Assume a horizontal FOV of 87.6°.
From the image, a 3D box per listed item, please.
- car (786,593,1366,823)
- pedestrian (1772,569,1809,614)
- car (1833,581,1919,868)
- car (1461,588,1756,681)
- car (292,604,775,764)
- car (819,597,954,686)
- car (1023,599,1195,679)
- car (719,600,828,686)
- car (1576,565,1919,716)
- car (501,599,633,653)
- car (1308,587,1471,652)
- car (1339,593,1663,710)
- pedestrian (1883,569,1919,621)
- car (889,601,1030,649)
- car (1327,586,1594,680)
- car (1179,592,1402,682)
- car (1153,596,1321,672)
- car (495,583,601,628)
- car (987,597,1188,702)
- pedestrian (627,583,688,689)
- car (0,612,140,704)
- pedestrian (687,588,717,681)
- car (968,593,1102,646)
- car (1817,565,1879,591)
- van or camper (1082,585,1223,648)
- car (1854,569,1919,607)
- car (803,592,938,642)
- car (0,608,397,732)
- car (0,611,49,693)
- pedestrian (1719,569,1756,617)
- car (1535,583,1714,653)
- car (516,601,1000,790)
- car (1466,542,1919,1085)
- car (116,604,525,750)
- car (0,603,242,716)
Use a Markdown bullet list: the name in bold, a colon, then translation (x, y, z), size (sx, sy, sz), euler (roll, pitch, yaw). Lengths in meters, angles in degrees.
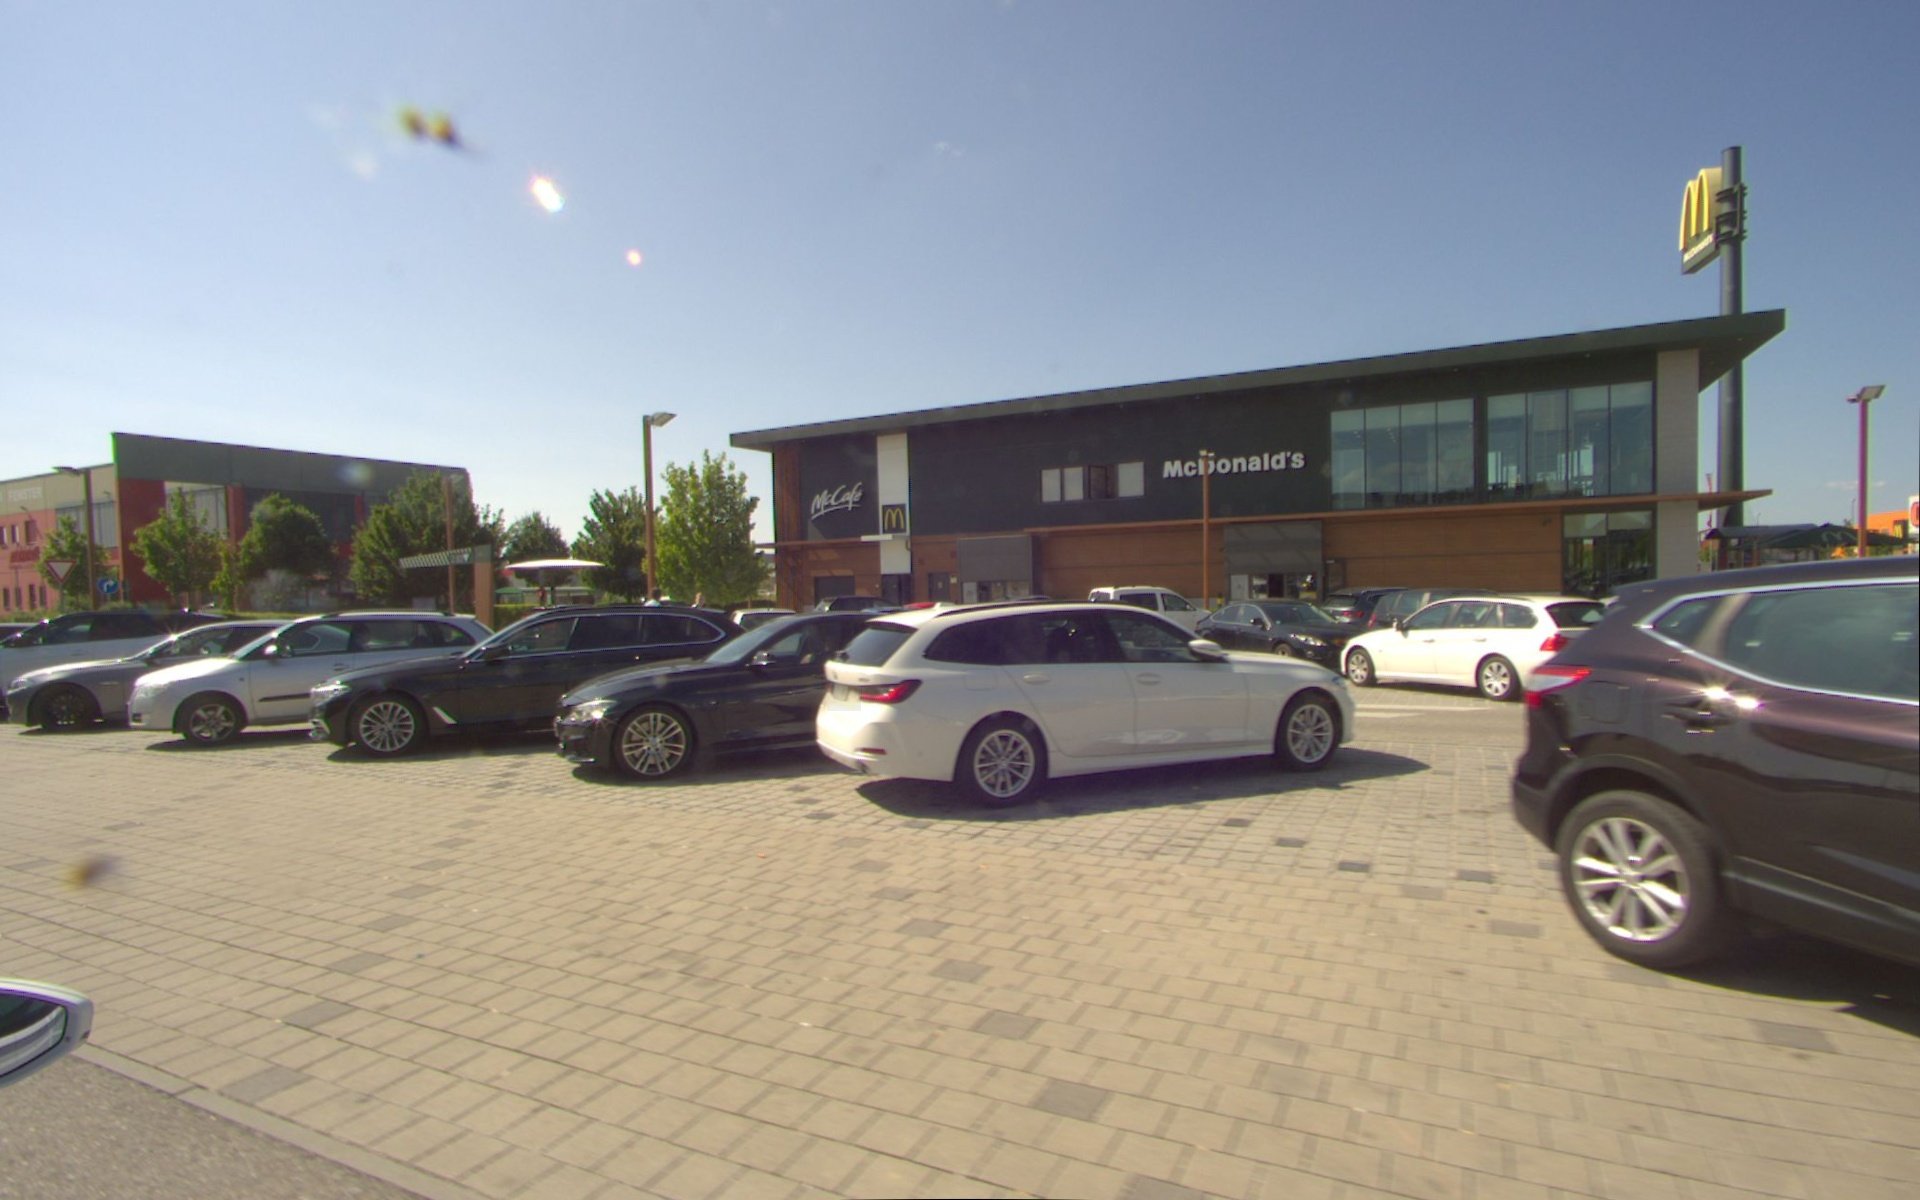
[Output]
- **car**: translation (0.993, 0.714, 8.351), size (4.510, 1.479, 1.830), euler (-1, 0, -24)
- **pedestrian**: translation (29.144, -0.291, 35.142), size (0.708, 1.580, 0.701), euler (-1, 1, -2)
- **car**: translation (7.079, 0.613, 5.340), size (4.136, 1.479, 1.970), euler (-1, 0, -21)
- **car**: translation (12.130, 0.584, 19.159), size (1.862, 1.507, 4.636), euler (-2, 0, -17)
- **car**: translation (-4.676, 0.834, 11.579), size (4.703, 1.506, 1.970), euler (-1, 0, -21)
- **car**: translation (-1.572, 0.748, 19.905), size (1.781, 1.535, 4.107), euler (-2, 0, -17)
- **car**: translation (3.082, 0.760, 21.815), size (1.862, 1.507, 4.636), euler (-2, 0, -17)
- **car**: translation (-3.866, 0.781, 20.266), size (1.681, 1.513, 4.107), euler (-2, 0, -17)
- **car**: translation (10.836, 0.452, 13.558), size (1.781, 1.696, 4.107), euler (-2, 0, -17)
- **car**: translation (-13.786, 0.866, 35.420), size (1.963, 1.714, 4.224), euler (0, 1, 22)
- **car**: translation (11.693, 0.499, 27.276), size (3.966, 1.634, 1.713), euler (-1, 0, -19)
- **car**: translation (7.698, 0.652, 14.752), size (1.781, 1.432, 4.106), euler (-2, 0, -18)
- **pedestrian**: translation (29.305, -0.150, 31.163), size (0.691, 1.580, 0.719), euler (-1, 1, 27)
- **car**: translation (-0.009, 0.810, 34.271), size (4.398, 1.485, 1.954), euler (-1, 0, -27)
- **car**: translation (9.283, 0.556, 19.087), size (1.862, 1.507, 4.636), euler (-2, 0, -17)
- **car**: translation (6.350, 0.655, 19.886), size (1.862, 1.507, 4.636), euler (-2, 0, -17)
- **car**: translation (6.943, 0.831, 25.083), size (3.891, 1.798, 1.649), euler (-1, 0, 22)
- **car**: translation (-21.663, 0.277, 52.921), size (1.969, 2.226, 5.085), euler (-1, 0, 28)
- **car**: translation (1.992, 0.741, 17.019), size (1.781, 1.507, 4.272), euler (-2, 0, -17)
- **pedestrian**: translation (-5.480, 0.643, 18.201), size (0.818, 1.874, 0.770), euler (-1, 1, 3)
- **car**: translation (-17.499, 1.030, 17.792), size (4.142, 1.546, 1.967), euler (-1, 0, -26)
- **pedestrian**: translation (-5.054, 0.664, 19.619), size (0.460, 1.792, 0.550), euler (-1, 1, -25)
- **car**: translation (2.382, 0.633, 31.964), size (3.886, 1.534, 1.709), euler (-1, -2, -24)
- **car**: translation (84.312, -2.034, 95.132), size (3.934, 2.333, 1.993), euler (-1, 0, 24)
- **van or camper**: translation (5.884, 0.472, 30.639), size (3.960, 1.798, 1.707), euler (-1, 0, -21)
- **car**: translation (41.452, -0.515, 44.557), size (1.738, 1.582, 3.864), euler (-1, 0, 30)
- **car**: translation (-3.171, 0.577, 35.556), size (4.395, 1.624, 1.955), euler (-1, 0, -24)
- **car**: translation (-11.139, 0.934, 14.756), size (4.769, 1.546, 1.968), euler (-1, 0, -25)
- **car**: translation (-20.732, 1.030, 19.258), size (4.258, 1.547, 1.970), euler (-1, 1, -19)
- **pedestrian**: translation (26.373, -0.236, 33.959), size (0.708, 1.580, 0.701), euler (-1, 1, -2)
- **car**: translation (16.700, 0.426, 25.193), size (3.966, 1.634, 1.713), euler (-1, 0, -19)
- **car**: translation (-1.944, 0.778, 9.785), size (4.298, 1.479, 1.830), euler (-1, 0, -23)
- **car**: translation (3.844, 0.625, 2.827), size (1.825, 1.612, 4.293), euler (-1, 1, -18)
- **car**: translation (-8.040, 0.856, 12.950), size (4.151, 1.546, 1.963), euler (-1, 0, -34)
- **car**: translation (-14.409, 0.915, 16.355), size (4.147, 1.676, 1.965), euler (-1, 0, -31)
